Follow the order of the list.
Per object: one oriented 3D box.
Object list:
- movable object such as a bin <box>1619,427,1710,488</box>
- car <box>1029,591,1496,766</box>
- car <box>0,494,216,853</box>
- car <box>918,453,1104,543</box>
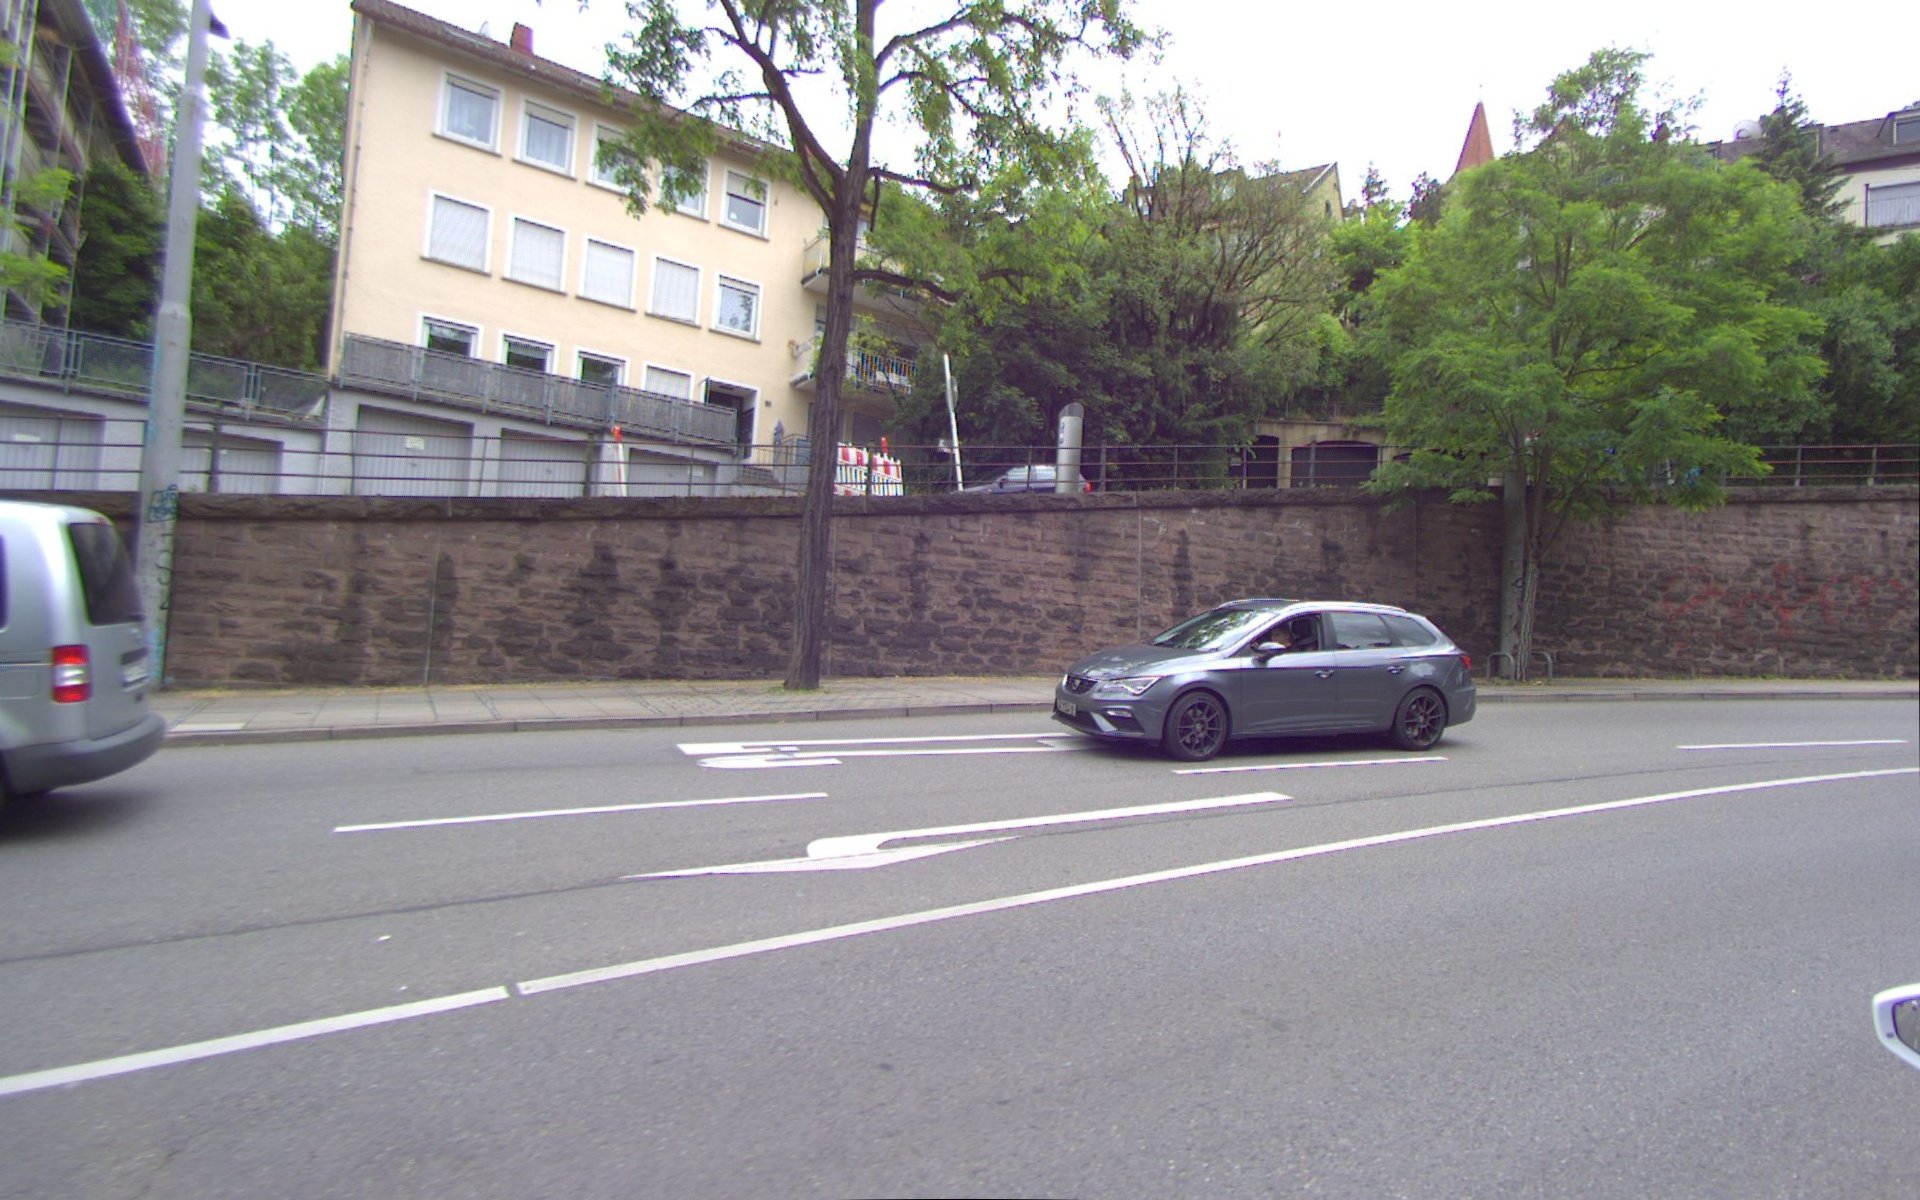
[{"bbox_3d":[19.161,-3.856,27.366,1.572,1.373,1.253,-1,-3,5],"label":"movable object such as a bin"},{"bbox_3d":[3.047,0.690,10.162,4.336,1.486,1.780,1,1,-21],"label":"car"},{"bbox_3d":[-6.715,0.317,5.160,4.395,1.838,1.848,1,1,-29],"label":"car"},{"bbox_3d":[1.197,-2.334,23.758,4.004,1.661,1.766,2,-1,-21],"label":"car"}]
